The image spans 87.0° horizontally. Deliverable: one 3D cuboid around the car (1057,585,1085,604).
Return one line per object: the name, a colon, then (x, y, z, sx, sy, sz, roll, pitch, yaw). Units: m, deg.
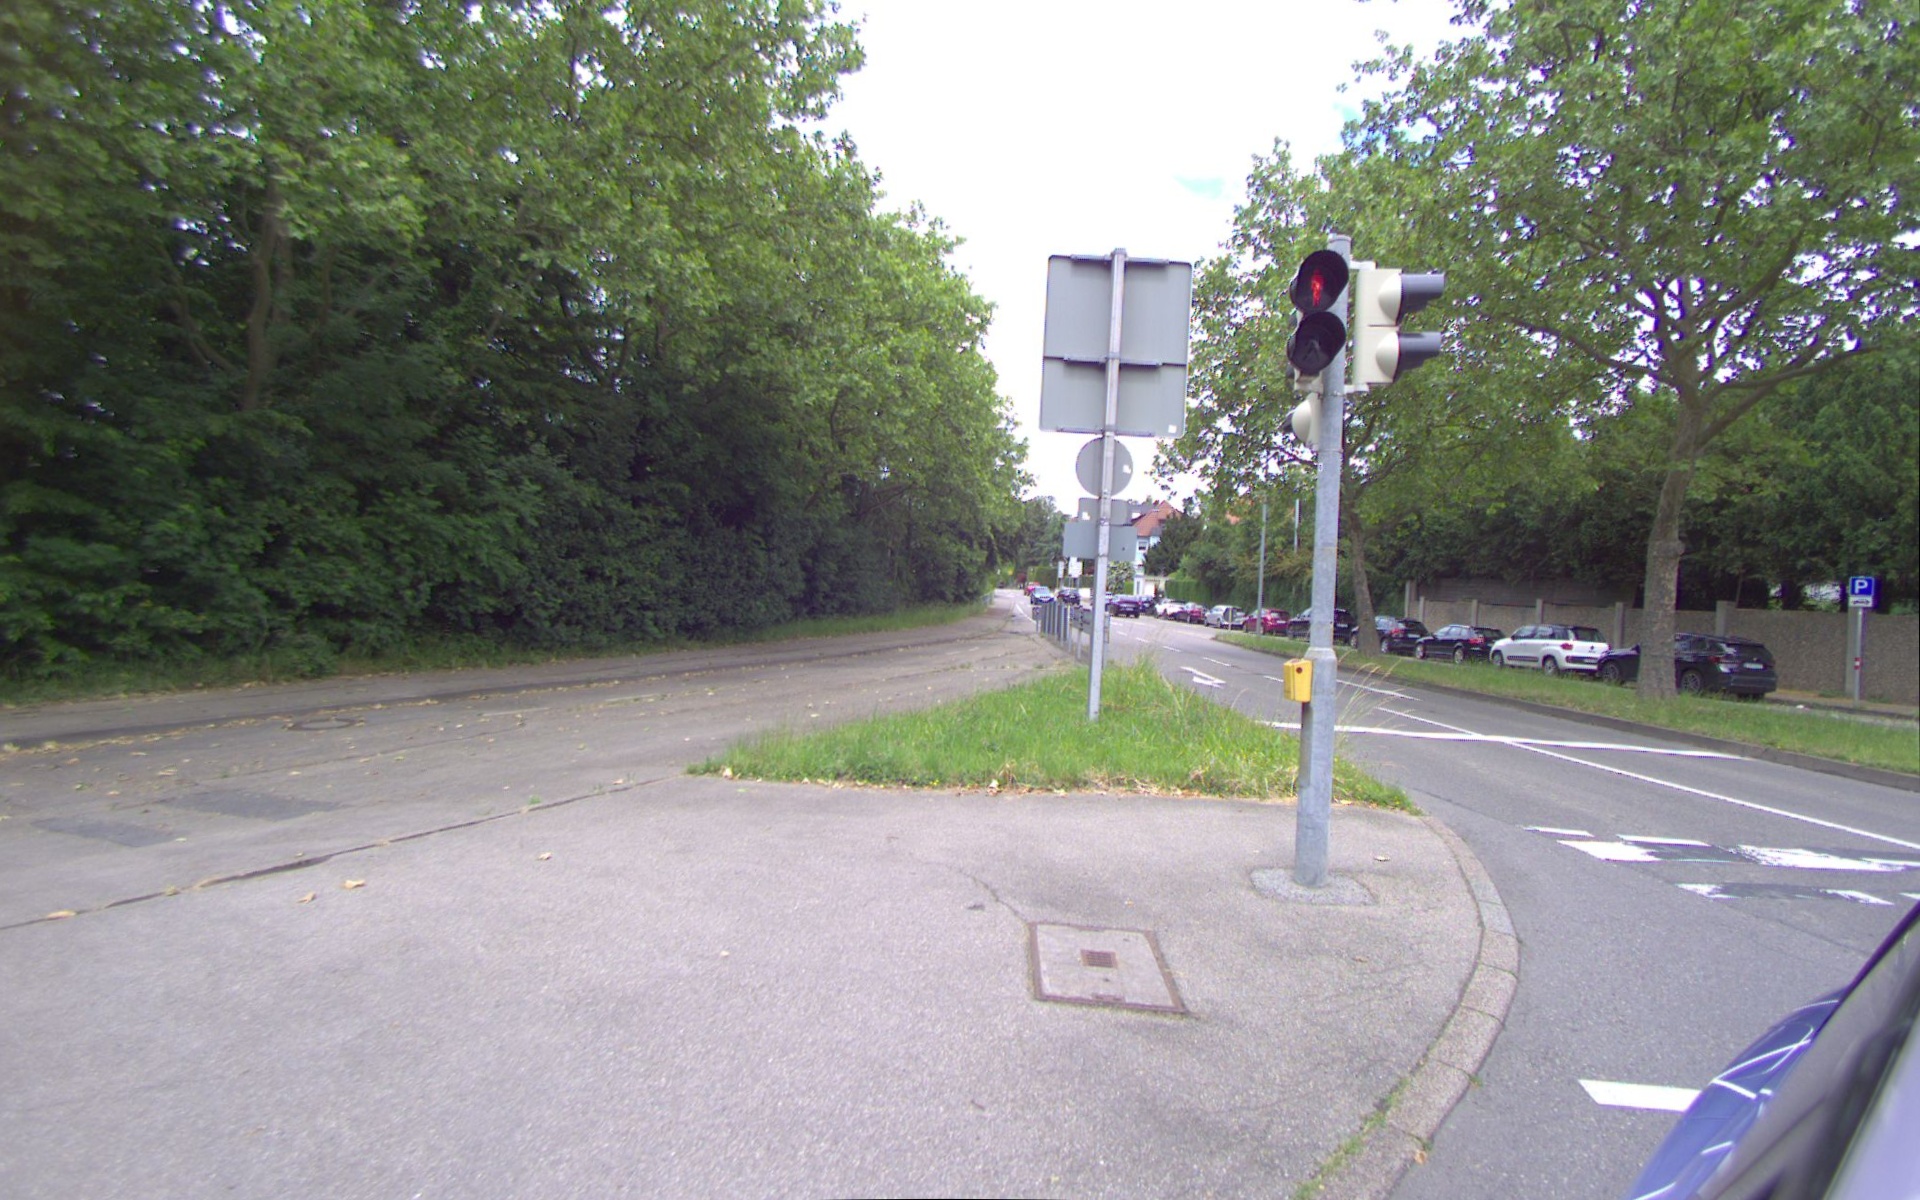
car: (10.501, -0.524, 96.110, 1.808, 1.636, 3.917, 4, 0, -4)

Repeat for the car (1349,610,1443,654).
car: (17.986, 1.281, 41.928, 1.762, 1.523, 4.042, 4, 0, -5)

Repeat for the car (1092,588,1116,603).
car: (13.658, -0.455, 96.033, 1.655, 1.346, 3.832, 2, 1, -1)

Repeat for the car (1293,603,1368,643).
car: (17.360, 1.044, 47.609, 1.762, 1.623, 4.041, 3, 1, -3)

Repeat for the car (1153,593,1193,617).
car: (15.433, 0.317, 73.513, 1.653, 1.523, 3.835, 4, 0, -5)

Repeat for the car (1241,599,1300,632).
car: (16.842, 0.812, 55.122, 1.653, 1.523, 3.835, 4, 0, -5)

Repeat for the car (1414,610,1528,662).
car: (18.386, 1.253, 36.623, 1.762, 1.523, 4.041, 4, 0, -3)

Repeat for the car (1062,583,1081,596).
car: (12.440, -1.173, 113.168, 1.655, 1.346, 3.832, 2, 1, -1)

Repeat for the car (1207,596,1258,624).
car: (16.515, 0.577, 61.443, 1.653, 1.523, 3.835, 4, 0, -5)

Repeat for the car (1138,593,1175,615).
car: (15.140, 0.303, 78.179, 1.653, 1.523, 3.835, 4, 0, -5)

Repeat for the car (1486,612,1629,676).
car: (18.732, 1.330, 31.977, 1.762, 1.636, 4.220, 4, 0, -3)

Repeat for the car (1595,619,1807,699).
car: (19.080, 1.453, 26.353, 1.761, 1.636, 4.468, 4, 0, -7)

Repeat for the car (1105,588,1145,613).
car: (11.886, -0.002, 73.230, 1.762, 1.636, 4.591, 4, 0, -4)

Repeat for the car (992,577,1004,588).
car: (5.879, -2.722, 156.705, 1.641, 1.564, 3.999, 3, 1, 1)

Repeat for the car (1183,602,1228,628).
car: (16.329, 0.979, 67.516, 1.653, 1.523, 3.835, 4, 0, -5)

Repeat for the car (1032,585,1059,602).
car: (7.903, -0.604, 93.671, 1.762, 1.446, 4.151, 4, 0, -4)
